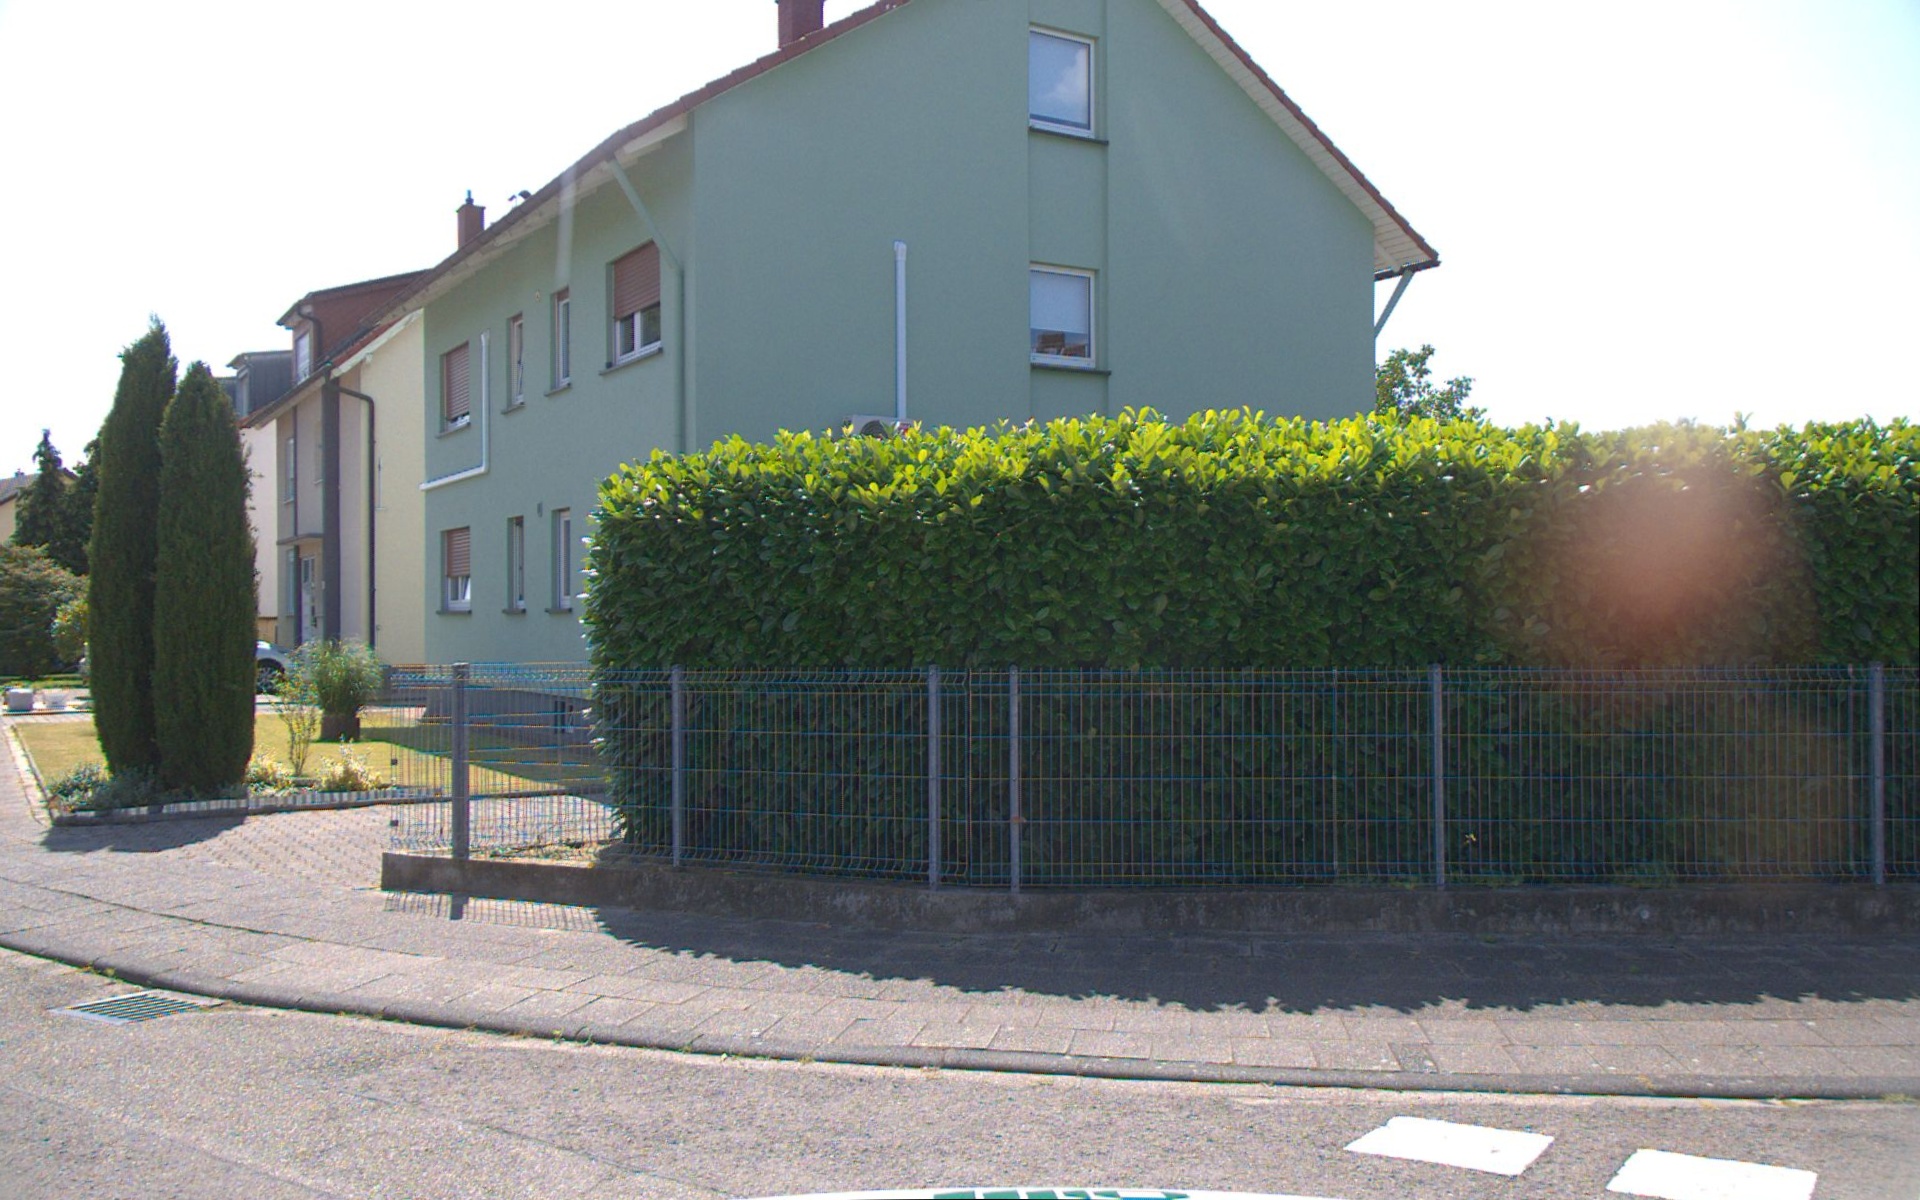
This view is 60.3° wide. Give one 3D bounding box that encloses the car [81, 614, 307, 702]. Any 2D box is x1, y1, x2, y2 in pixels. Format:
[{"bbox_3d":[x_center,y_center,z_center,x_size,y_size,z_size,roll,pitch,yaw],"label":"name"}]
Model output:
[{"bbox_3d":[-15.028,1.095,32.495,3.875,1.536,1.755,-1,0,-31],"label":"car"}]
